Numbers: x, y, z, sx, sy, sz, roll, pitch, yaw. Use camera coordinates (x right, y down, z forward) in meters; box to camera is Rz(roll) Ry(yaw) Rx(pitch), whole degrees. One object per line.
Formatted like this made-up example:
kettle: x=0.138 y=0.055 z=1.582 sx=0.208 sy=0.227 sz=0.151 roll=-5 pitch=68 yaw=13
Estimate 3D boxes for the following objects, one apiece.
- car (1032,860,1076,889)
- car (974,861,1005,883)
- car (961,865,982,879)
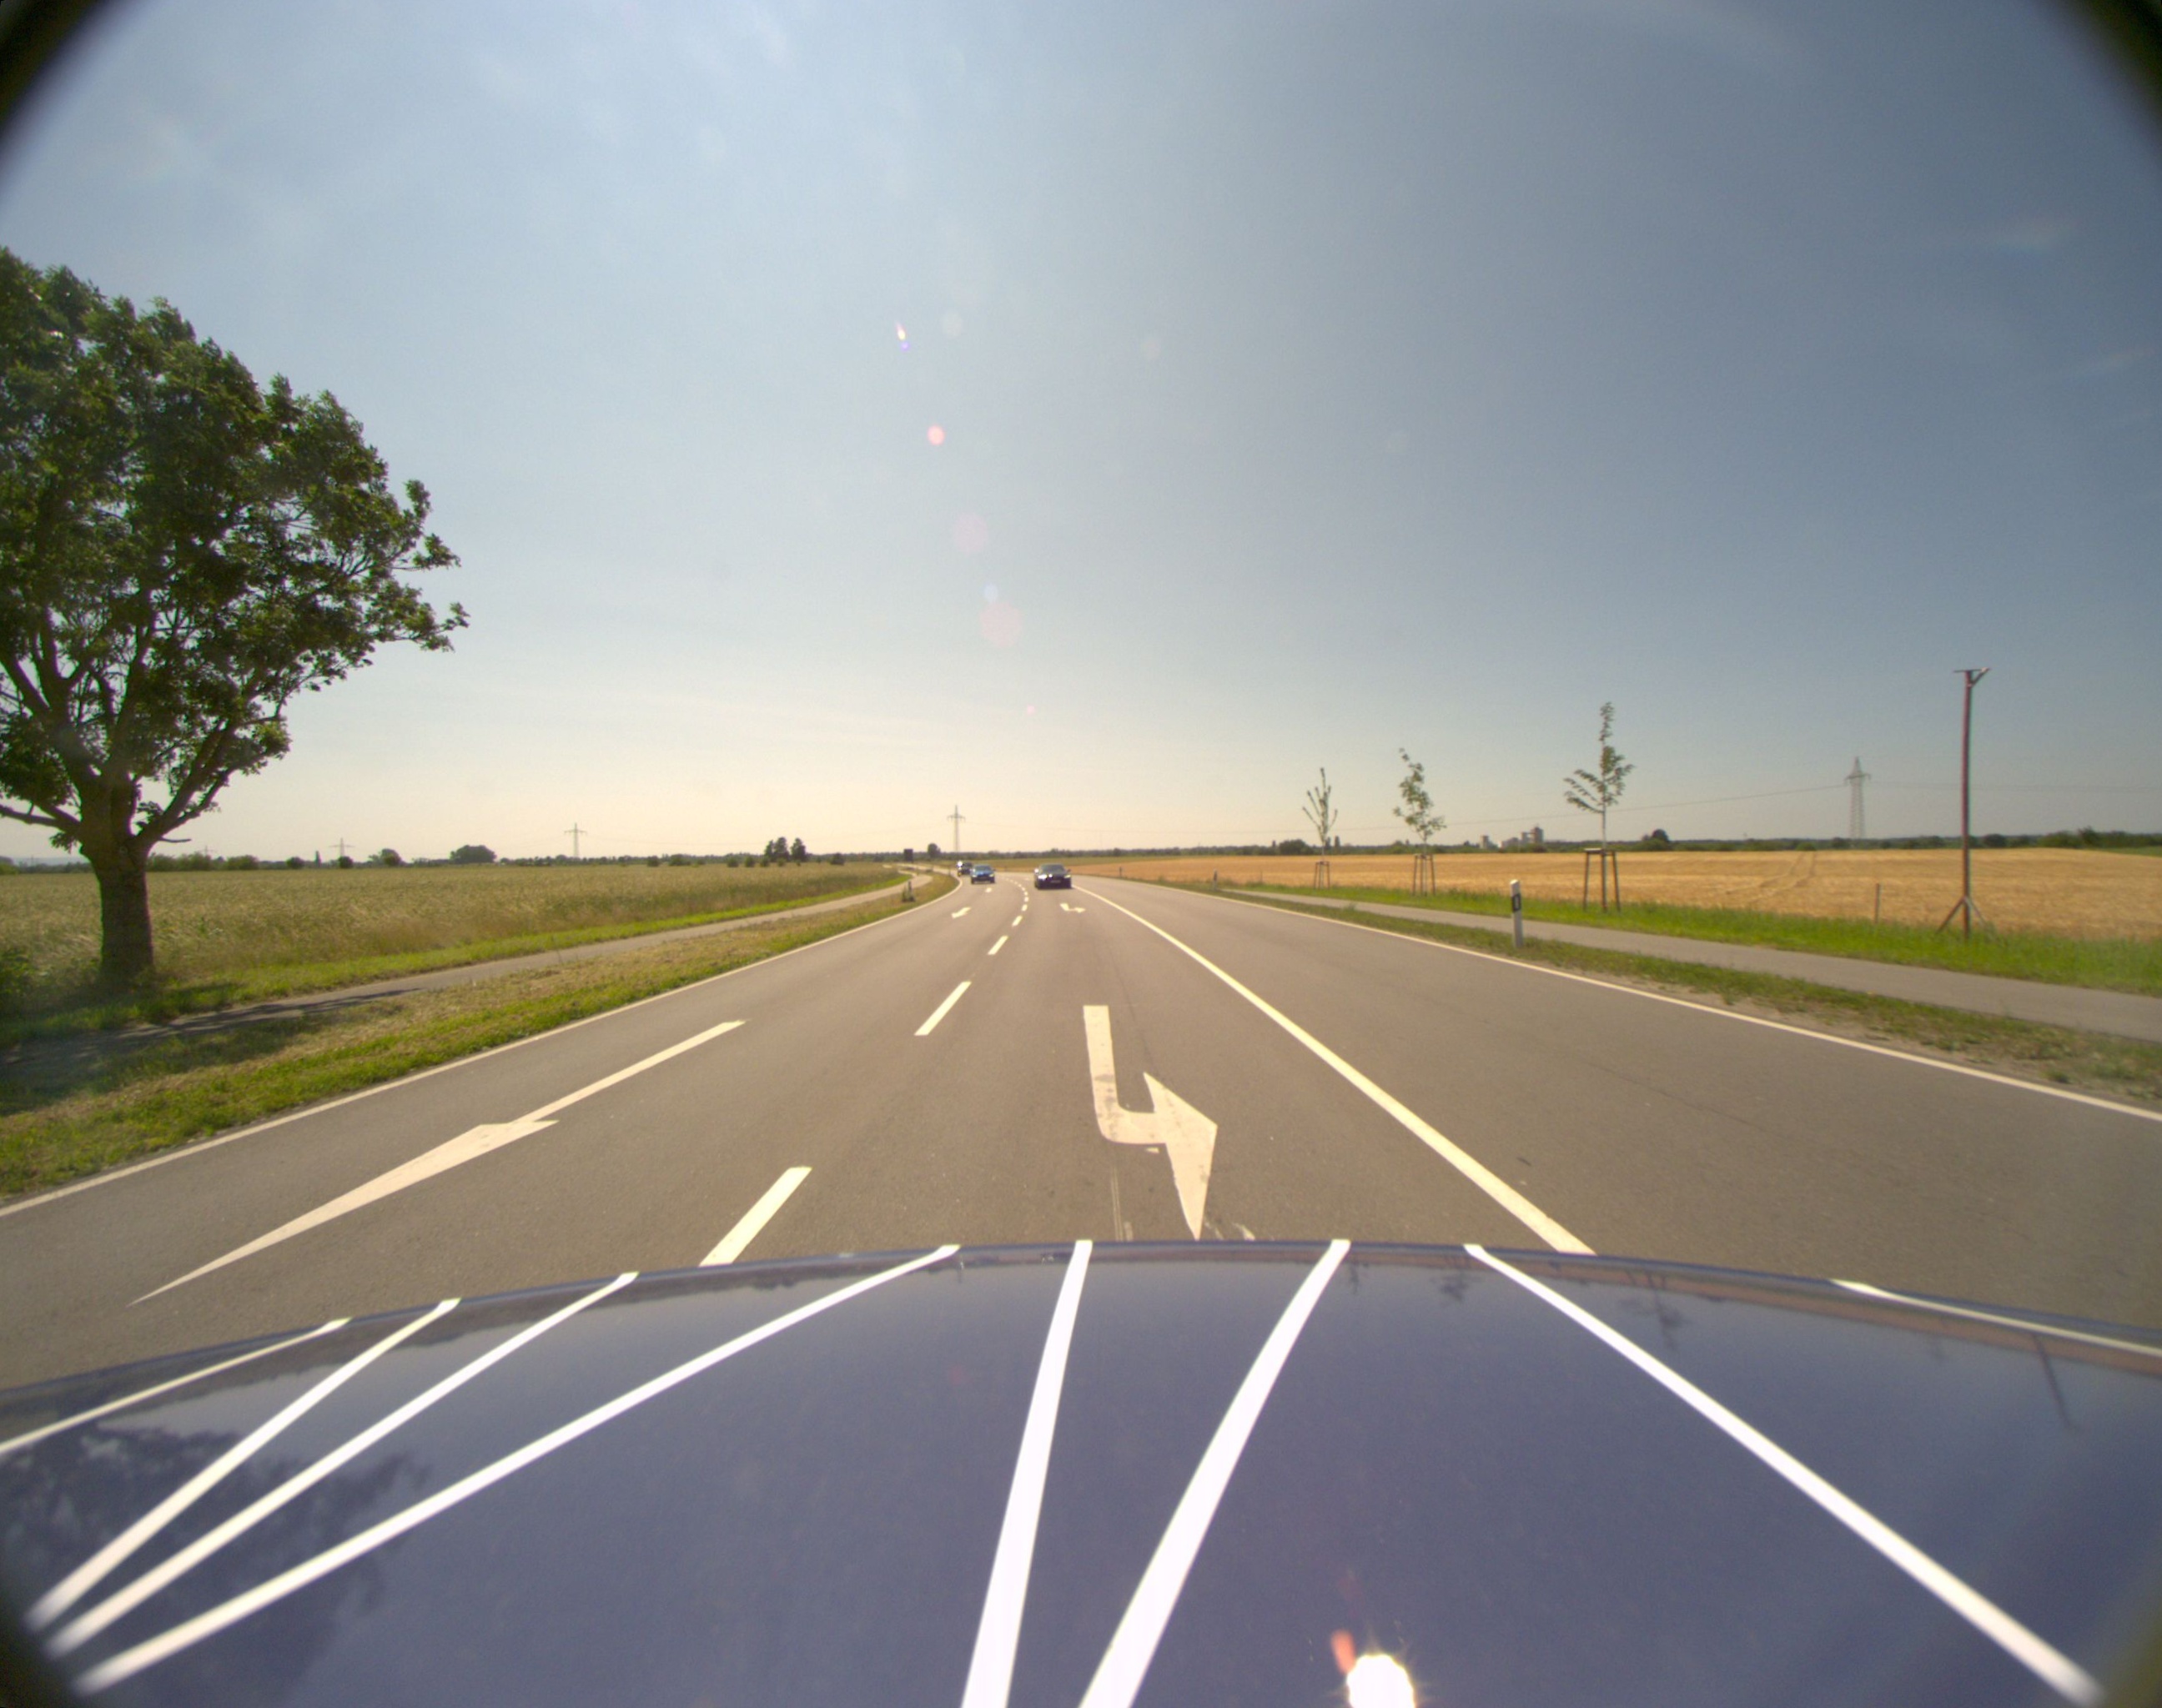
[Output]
car: x=-1.627 y=1.139 z=44.247 sx=2.190 sy=1.458 sz=5.011 roll=-2 pitch=0 yaw=-5
car: x=-7.163 y=1.354 z=59.103 sx=2.191 sy=1.458 sz=5.009 roll=-2 pitch=0 yaw=-9
car: x=-12.835 y=2.123 z=88.918 sx=2.191 sy=1.458 sz=5.009 roll=-2 pitch=0 yaw=-9
